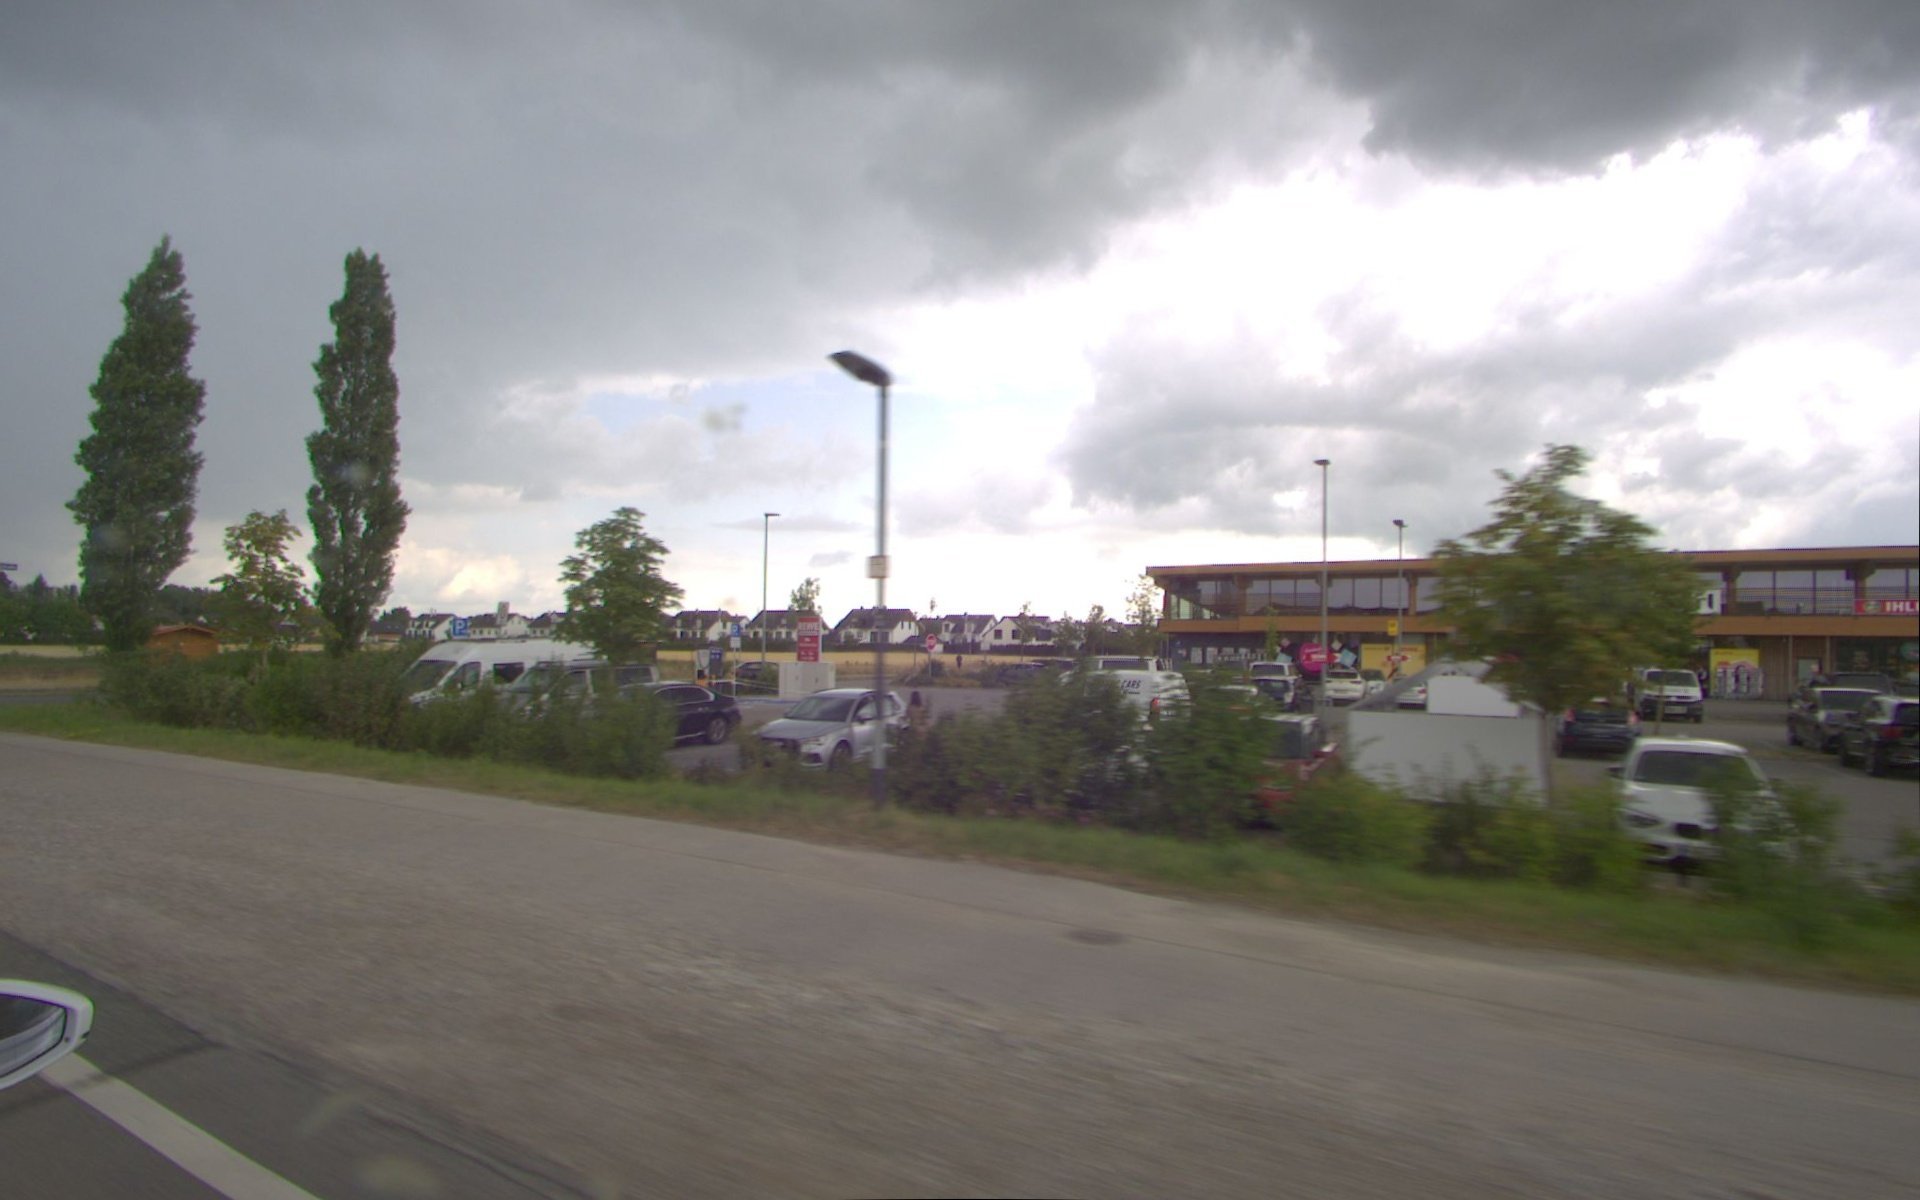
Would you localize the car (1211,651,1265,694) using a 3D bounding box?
[{"bbox_3d":[14.862,3.806,53.397,1.823,2.036,4.212,0,-1,30],"label":"car"}]

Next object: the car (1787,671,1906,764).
[{"bbox_3d":[23.229,2.994,26.385,1.974,2.040,3.974,0,-1,36],"label":"car"}]

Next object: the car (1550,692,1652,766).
[{"bbox_3d":[15.604,3.081,24.537,1.971,1.460,3.983,0,-3,31],"label":"car"}]

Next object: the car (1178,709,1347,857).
[{"bbox_3d":[4.660,2.597,15.079,1.651,1.558,3.751,0,-1,30],"label":"car"}]

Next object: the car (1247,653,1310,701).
[{"bbox_3d":[14.660,3.494,45.990,2.008,1.936,3.888,0,-1,30],"label":"car"}]

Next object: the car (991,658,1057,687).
[{"bbox_3d":[3.808,4.290,59.363,3.528,1.527,1.742,-1,-1,32],"label":"car"}]

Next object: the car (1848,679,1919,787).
[{"bbox_3d":[20.422,2.757,21.239,1.974,1.895,4.247,0,-1,36],"label":"car"}]

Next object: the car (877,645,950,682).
[{"bbox_3d":[-2.755,3.751,59.421,3.943,2.040,1.990,-1,-1,32],"label":"car"}]

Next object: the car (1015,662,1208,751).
[{"bbox_3d":[3.948,2.742,26.773,2.090,1.931,4.894,1,-1,-44],"label":"car"}]

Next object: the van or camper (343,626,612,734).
[{"bbox_3d":[-12.757,1.985,27.082,2.247,2.496,6.460,0,-1,29],"label":"van or camper"}]

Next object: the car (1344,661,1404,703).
[{"bbox_3d":[20.564,4.023,49.657,1.920,1.772,3.974,0,-1,36],"label":"car"}]

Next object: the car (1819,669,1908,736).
[{"bbox_3d":[32.314,3.589,35.928,1.974,2.040,3.974,0,-1,36],"label":"car"}]

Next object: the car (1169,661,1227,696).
[{"bbox_3d":[11.242,3.674,47.184,1.748,1.400,3.457,0,-1,30],"label":"car"}]

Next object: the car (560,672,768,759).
[{"bbox_3d":[-7.038,2.695,24.414,1.732,1.618,5.089,0,-1,30],"label":"car"}]

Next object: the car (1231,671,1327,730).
[{"bbox_3d":[10.889,3.360,34.035,1.974,1.639,3.974,0,-1,36],"label":"car"}]

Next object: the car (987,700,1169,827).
[{"bbox_3d":[2.173,2.699,17.393,1.651,1.558,4.141,0,-1,30],"label":"car"}]

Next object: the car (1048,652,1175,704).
[{"bbox_3d":[6.538,3.305,43.112,5.140,2.040,1.997,0,-1,18],"label":"car"}]

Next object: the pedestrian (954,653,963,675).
[{"bbox_3d":[-0.101,5.459,85.367,0.591,1.784,0.481,0,0,32],"label":"pedestrian"}]

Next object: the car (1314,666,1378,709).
[{"bbox_3d":[17.263,3.837,44.681,2.010,1.628,3.731,0,-1,32],"label":"car"}]

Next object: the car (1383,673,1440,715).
[{"bbox_3d":[19.497,4.023,43.142,1.767,1.496,3.731,0,-1,32],"label":"car"}]

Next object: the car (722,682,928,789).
[{"bbox_3d":[-2.598,2.619,20.267,2.049,1.618,4.141,0,-1,30],"label":"car"}]

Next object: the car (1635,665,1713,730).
[{"bbox_3d":[26.994,3.626,38.011,1.970,2.040,5.122,0,-1,31],"label":"car"}]

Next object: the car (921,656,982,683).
[{"bbox_3d":[-0.548,4.362,63.363,3.528,1.527,1.742,-1,-1,32],"label":"car"}]

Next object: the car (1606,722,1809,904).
[{"bbox_3d":[9.446,2.559,12.929,1.651,1.558,3.751,0,-1,30],"label":"car"}]

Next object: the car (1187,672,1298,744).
[{"bbox_3d":[8.025,2.952,28.216,1.971,1.639,3.980,0,-1,32],"label":"car"}]

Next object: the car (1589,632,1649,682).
[{"bbox_3d":[29.304,2.475,44.644,1.970,2.040,5.122,0,-1,31],"label":"car"}]

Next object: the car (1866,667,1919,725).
[{"bbox_3d":[37.736,3.800,39.906,1.974,2.040,3.974,0,-1,36],"label":"car"}]

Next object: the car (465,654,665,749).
[{"bbox_3d":[-10.050,2.509,25.852,1.970,2.040,4.587,0,-1,30],"label":"car"}]

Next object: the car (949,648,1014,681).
[{"bbox_3d":[1.437,4.323,67.206,3.943,2.040,1.990,-1,-1,32],"label":"car"}]
